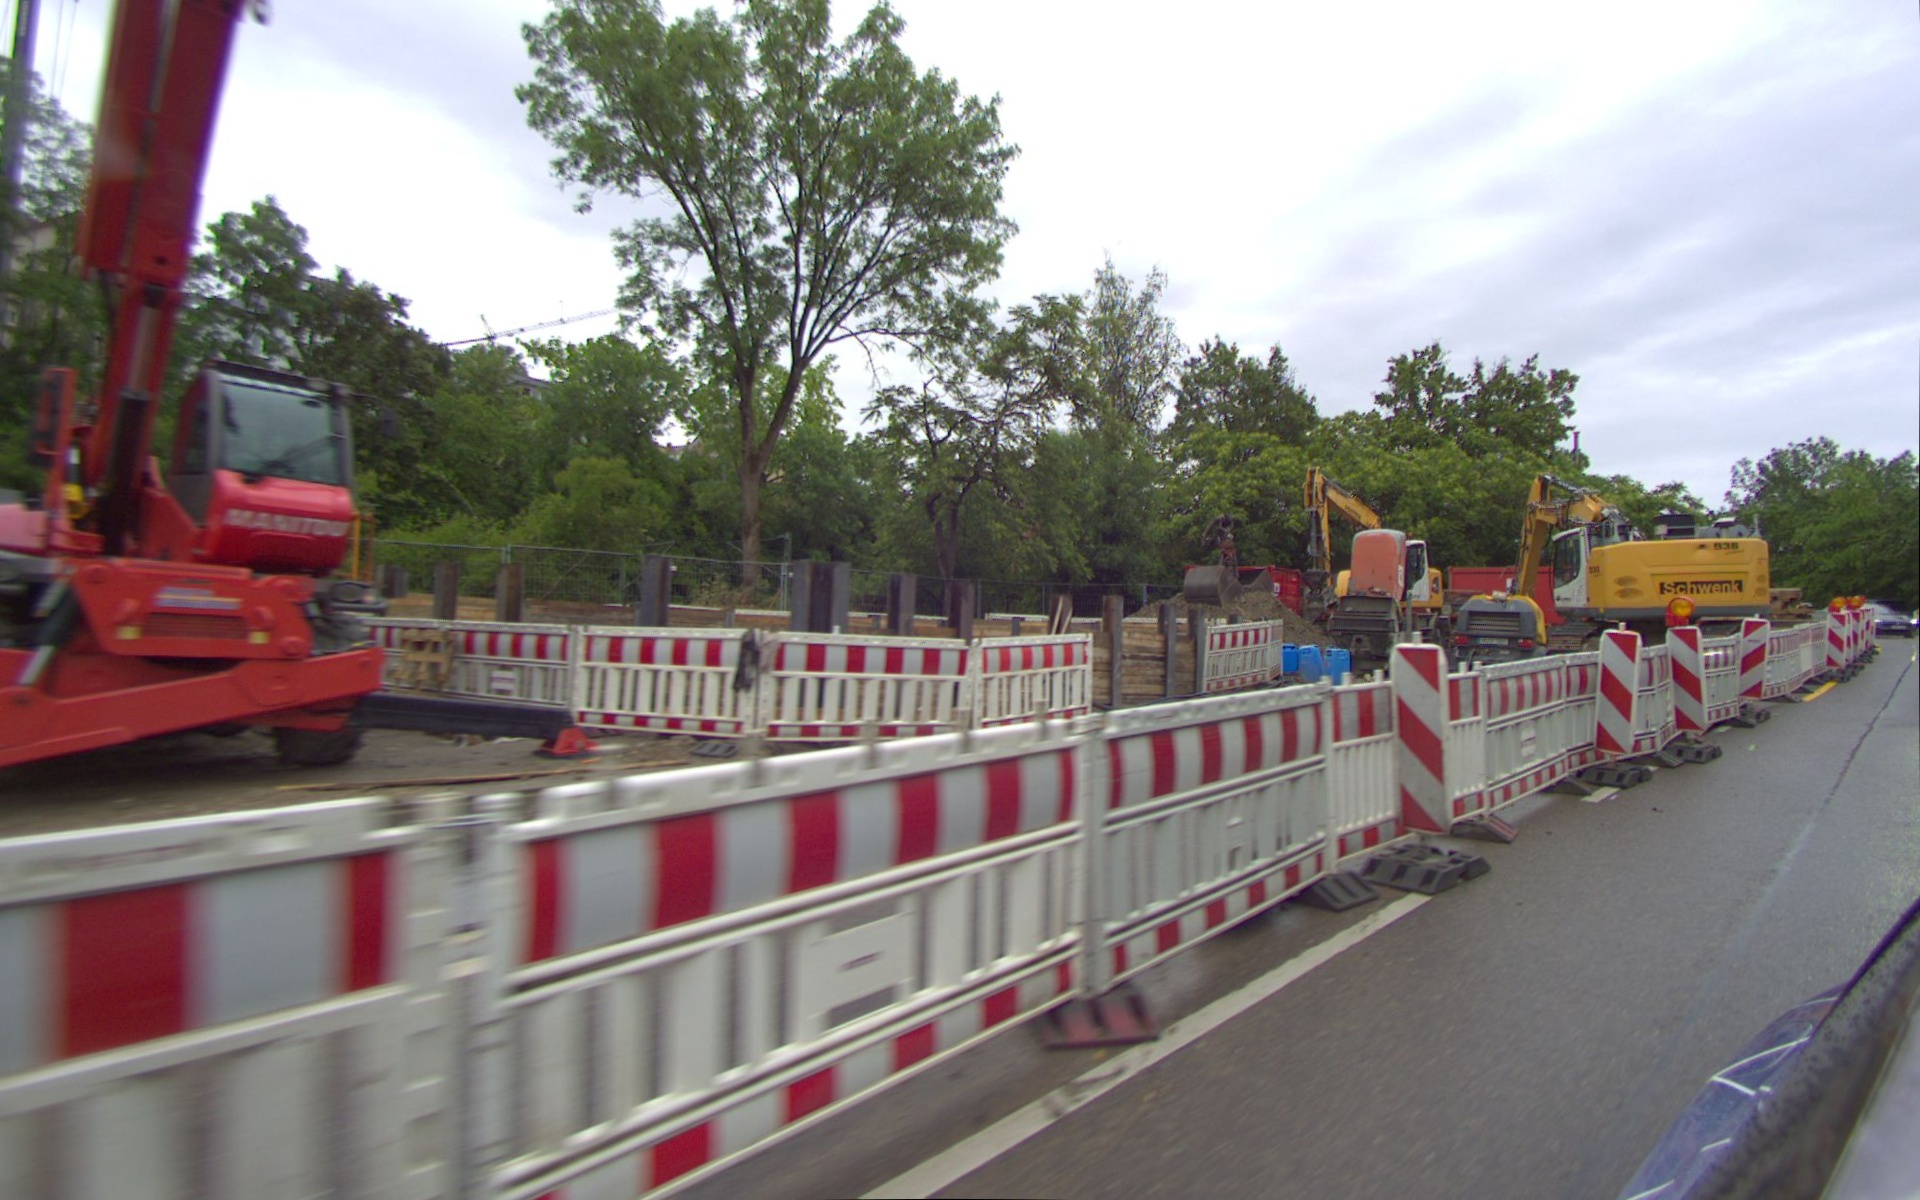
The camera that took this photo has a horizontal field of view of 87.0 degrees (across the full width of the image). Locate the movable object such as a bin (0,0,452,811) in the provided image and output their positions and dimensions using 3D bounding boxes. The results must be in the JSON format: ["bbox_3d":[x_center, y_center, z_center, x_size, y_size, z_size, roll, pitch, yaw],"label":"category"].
[{"bbox_3d":[-7.337,-2.201,8.729,6.944,6.774,2.999,-1,-1,42],"label":"movable object such as a bin"}]

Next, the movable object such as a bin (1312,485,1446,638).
[{"bbox_3d":[11.794,-0.967,28.353,1.993,3.938,4.545,-1,-1,43],"label":"movable object such as a bin"}]

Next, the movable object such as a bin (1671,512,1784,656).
[{"bbox_3d":[19.465,-0.458,25.605,1.992,3.346,3.780,-1,2,41],"label":"movable object such as a bin"}]

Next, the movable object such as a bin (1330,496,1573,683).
[{"bbox_3d":[9.710,-0.095,20.063,3.975,3.247,2.374,-1,-7,36],"label":"movable object such as a bin"}]

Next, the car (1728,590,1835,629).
[{"bbox_3d":[47.544,0.598,58.706,1.833,2.040,4.818,2,-2,-8],"label":"car"}]

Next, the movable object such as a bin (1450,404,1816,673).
[{"bbox_3d":[15.260,-1.312,24.460,3.017,4.979,10.796,-2,2,9],"label":"movable object such as a bin"}]

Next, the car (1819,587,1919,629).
[{"bbox_3d":[47.399,0.470,52.465,1.967,2.040,4.935,0,-2,8],"label":"car"}]
